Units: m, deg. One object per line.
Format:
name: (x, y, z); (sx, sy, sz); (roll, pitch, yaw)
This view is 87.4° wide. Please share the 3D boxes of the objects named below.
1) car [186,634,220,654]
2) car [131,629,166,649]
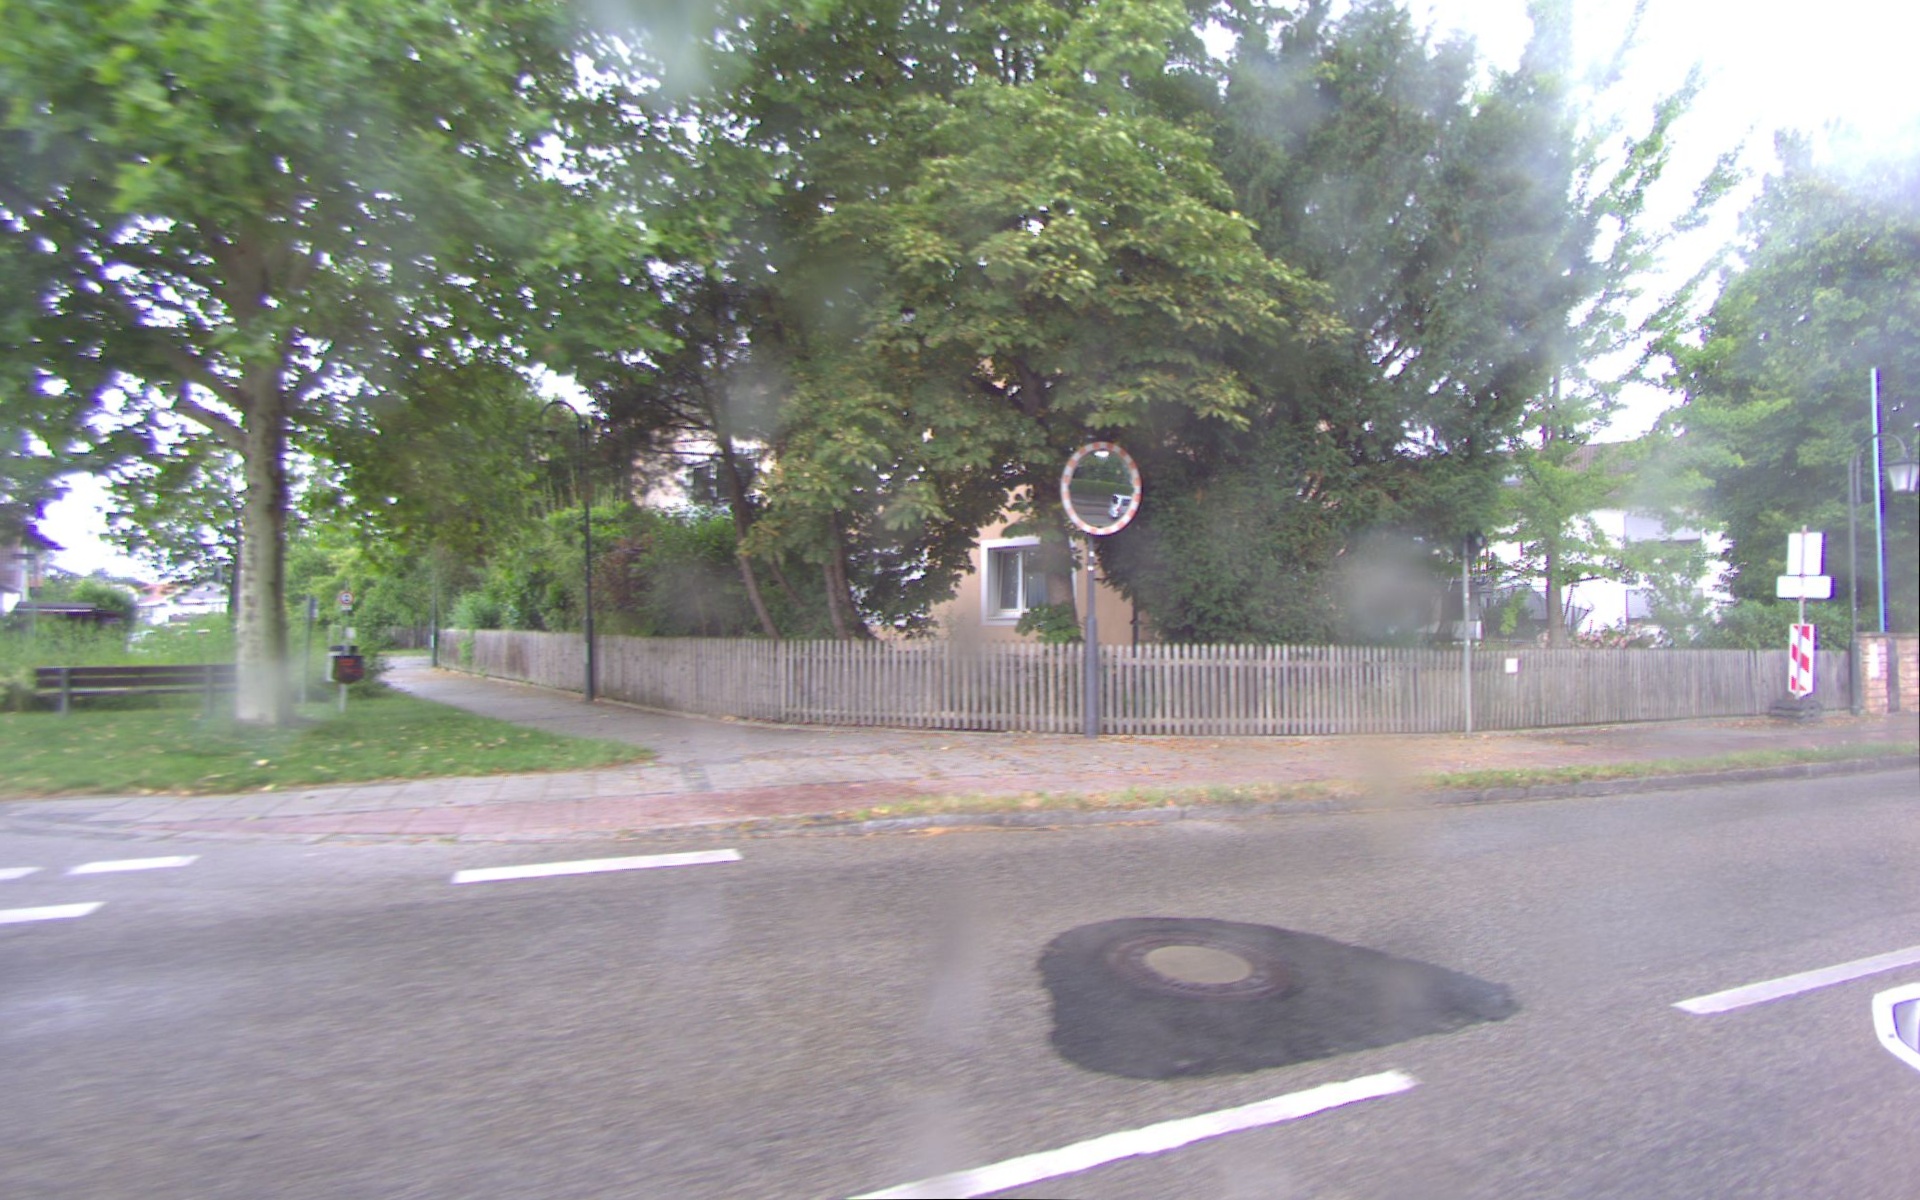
car: (-62.440, 3.617, 82.841); (1.985, 1.461, 3.952); (2, -1, -41)
car: (-67.312, 3.220, 83.287); (1.986, 1.461, 3.950); (2, -1, -42)
